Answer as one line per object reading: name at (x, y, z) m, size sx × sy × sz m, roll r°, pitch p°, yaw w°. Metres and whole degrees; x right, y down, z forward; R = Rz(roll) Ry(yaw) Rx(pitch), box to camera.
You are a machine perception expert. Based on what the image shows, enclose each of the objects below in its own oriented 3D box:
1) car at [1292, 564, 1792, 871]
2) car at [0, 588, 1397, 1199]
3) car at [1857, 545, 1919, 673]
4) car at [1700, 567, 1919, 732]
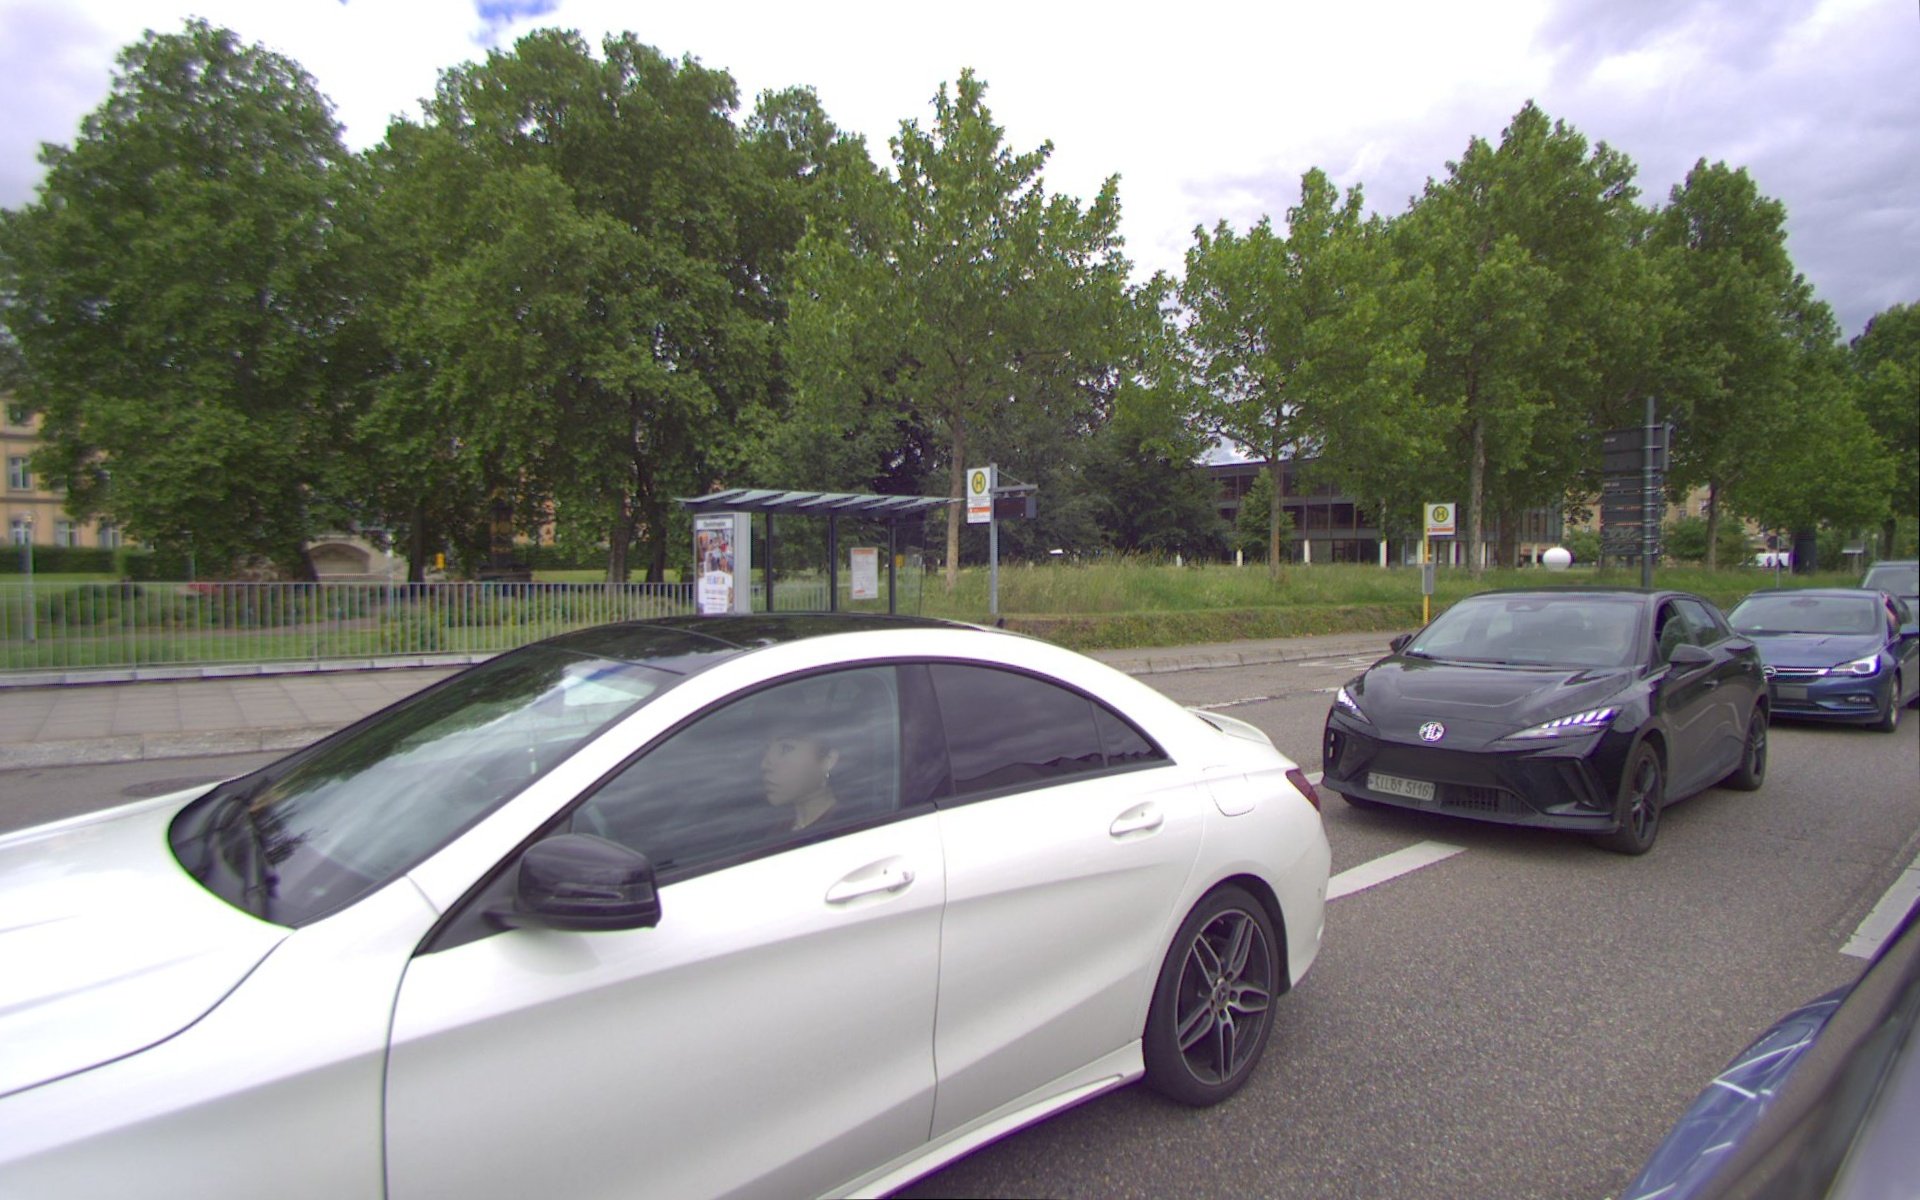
car at (4.254, 0.579, 7.124) m, size 4.047 × 1.543 × 1.828 m, roll 0°, pitch 1°, yaw -41°
car at (-0.691, 0.704, 2.776) m, size 4.427 × 1.441 × 1.722 m, roll -1°, pitch 1°, yaw -41°
car at (15.848, 0.109, 16.155) m, size 4.353 × 1.885 × 1.722 m, roll -1°, pitch 1°, yaw -41°
car at (9.868, 0.432, 11.405) m, size 3.930 × 1.556 × 1.572 m, roll -1°, pitch 1°, yaw -40°
